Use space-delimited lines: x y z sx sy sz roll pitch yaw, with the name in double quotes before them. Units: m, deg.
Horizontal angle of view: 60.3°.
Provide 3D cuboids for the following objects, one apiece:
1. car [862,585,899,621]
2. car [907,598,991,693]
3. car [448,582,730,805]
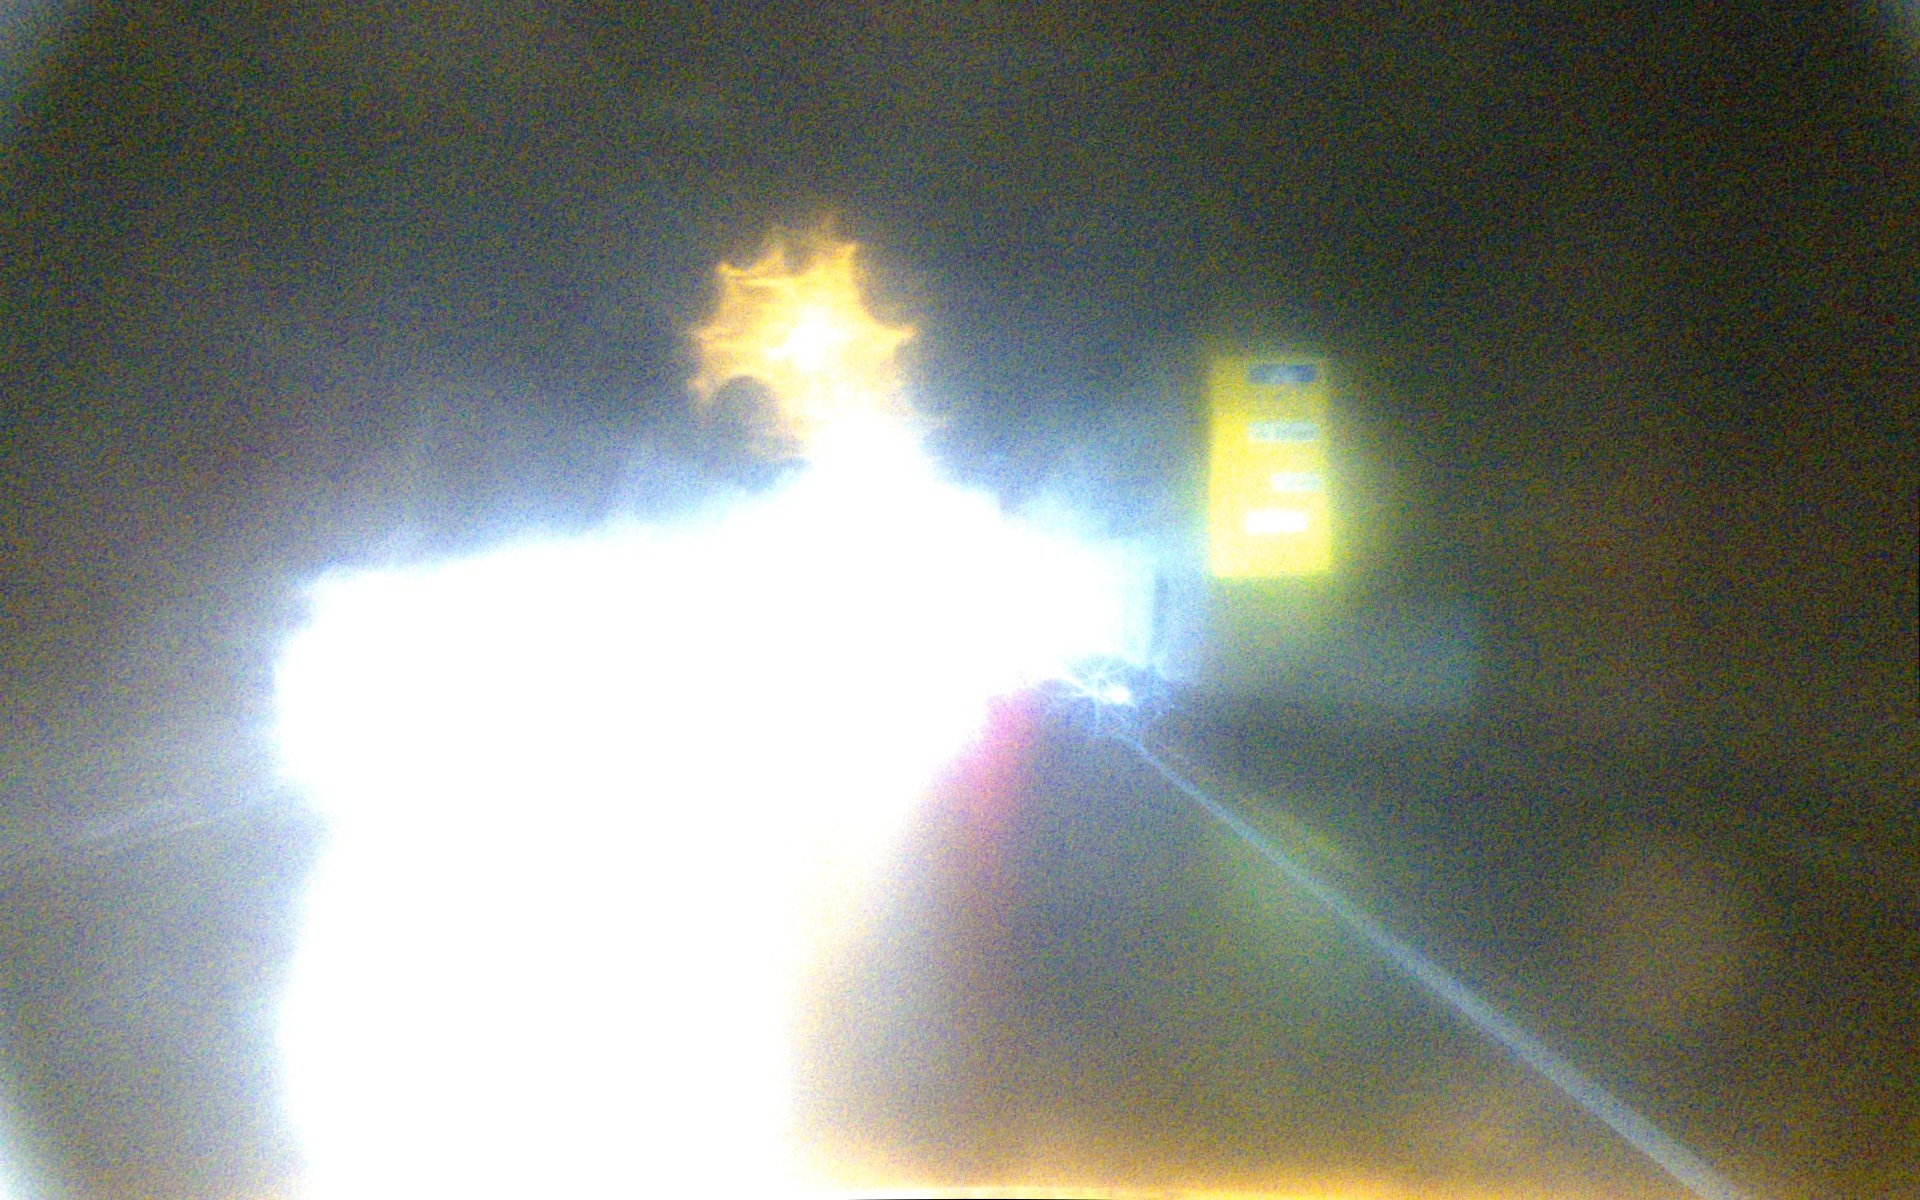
"car" -4.322 0.158 90.669 1.803 1.933 4.608 0 0 0
"car" -0.226 0.876 33.829 1.602 1.788 4.145 0 0 0
"car" -2.968 0.657 14.019 1.489 1.576 4.054 0 1 0
